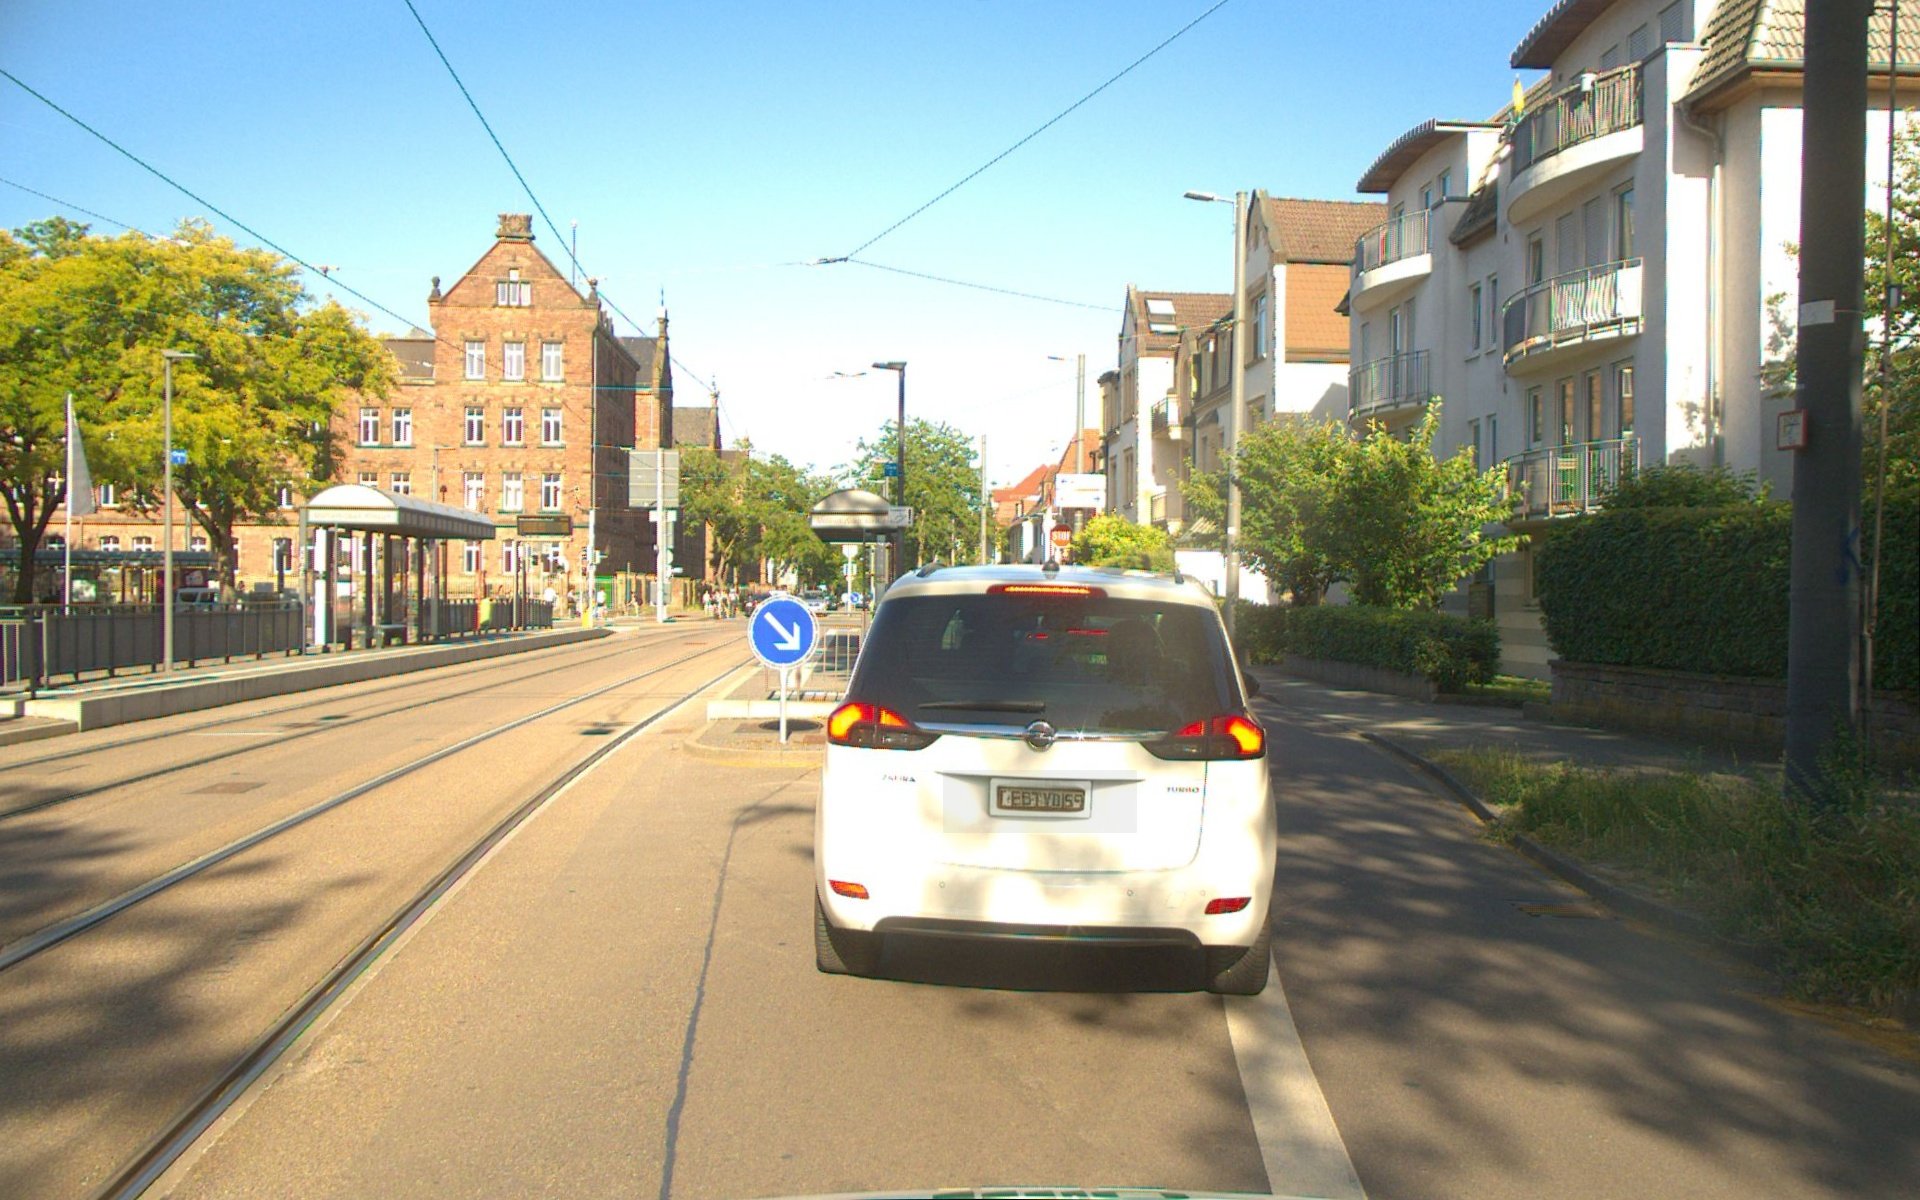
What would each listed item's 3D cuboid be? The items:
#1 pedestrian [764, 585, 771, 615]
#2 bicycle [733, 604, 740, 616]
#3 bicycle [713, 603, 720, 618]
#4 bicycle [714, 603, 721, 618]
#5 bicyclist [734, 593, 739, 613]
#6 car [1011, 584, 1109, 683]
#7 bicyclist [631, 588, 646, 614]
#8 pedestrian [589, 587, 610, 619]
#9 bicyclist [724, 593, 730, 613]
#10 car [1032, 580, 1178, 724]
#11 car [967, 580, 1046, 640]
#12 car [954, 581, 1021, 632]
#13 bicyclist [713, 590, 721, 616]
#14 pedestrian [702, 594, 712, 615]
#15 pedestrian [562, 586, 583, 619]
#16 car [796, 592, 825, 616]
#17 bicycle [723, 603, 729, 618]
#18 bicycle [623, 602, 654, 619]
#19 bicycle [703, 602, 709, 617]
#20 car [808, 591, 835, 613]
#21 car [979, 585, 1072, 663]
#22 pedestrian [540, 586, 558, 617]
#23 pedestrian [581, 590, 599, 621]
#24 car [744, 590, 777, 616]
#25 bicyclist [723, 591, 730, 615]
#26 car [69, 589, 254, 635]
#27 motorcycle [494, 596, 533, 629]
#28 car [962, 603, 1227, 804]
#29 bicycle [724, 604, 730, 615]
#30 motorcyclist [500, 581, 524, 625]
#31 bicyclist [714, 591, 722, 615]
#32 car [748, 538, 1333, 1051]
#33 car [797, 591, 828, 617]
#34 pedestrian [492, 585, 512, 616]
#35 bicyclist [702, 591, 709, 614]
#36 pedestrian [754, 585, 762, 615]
[{"bbox_3d":[-13.041,0.017,112.047,0.435,2.049,0.495,0,0,-4],"label":"pedestrian"},{"bbox_3d":[-15.060,0.672,111.419,0.337,0.737,0.996,1,0,-4],"label":"bicycle"},{"bbox_3d":[-15.161,0.651,102.833,0.337,0.966,1.159,1,0,-4],"label":"bicycle"},{"bbox_3d":[-15.609,0.658,106.359,0.337,0.966,0.996,1,0,-4],"label":"bicycle"},{"bbox_3d":[-15.057,0.199,111.416,0.352,1.326,0.397,0,0,-4],"label":"bicyclist"},{"bbox_3d":[1.711,0.552,29.264,1.603,1.629,3.855,0,0,1],"label":"car"},{"bbox_3d":[-18.175,0.082,93.603,0.743,1.455,0.515,1,-1,-3],"label":"bicyclist"},{"bbox_3d":[-19.310,0.153,88.657,0.877,1.713,1.029,1,0,-1],"label":"pedestrian"},{"bbox_3d":[-15.690,0.200,111.332,0.337,1.343,0.404,1,-1,-4],"label":"bicyclist"},{"bbox_3d":[1.738,0.587,20.836,1.603,1.629,3.855,0,0,1],"label":"car"},{"bbox_3d":[1.199,0.259,44.305,1.953,1.529,3.999,0,0,-1],"label":"car"},{"bbox_3d":[0.828,0.192,51.760,1.953,1.529,3.999,0,0,-1],"label":"car"},{"bbox_3d":[-15.152,0.176,103.041,0.435,1.580,0.742,0,0,-4],"label":"bicyclist"},{"bbox_3d":[-21.241,0.359,138.793,0.720,1.744,0.753,1,-1,-6],"label":"pedestrian"},{"bbox_3d":[-20.674,0.135,88.223,0.825,1.721,1.029,1,0,-1],"label":"pedestrian"},{"bbox_3d":[-10.349,0.260,114.246,1.955,1.657,3.996,0,0,-5],"label":"car"},{"bbox_3d":[-15.391,0.672,108.911,0.337,0.966,0.996,1,0,-4],"label":"bicycle"},{"bbox_3d":[-18.175,0.597,93.599,1.637,0.969,0.529,0,0,-3],"label":"bicycle"},{"bbox_3d":[-17.653,0.658,114.852,0.337,0.966,0.996,1,0,-4],"label":"bicycle"},{"bbox_3d":[-10.938,0.140,130.476,1.953,1.657,3.998,0,0,-3],"label":"car"},{"bbox_3d":[1.377,0.494,36.183,1.793,1.607,4.009,0,0,-1],"label":"car"},{"bbox_3d":[-22.032,0.084,88.668,0.786,1.616,0.934,1,0,-3],"label":"pedestrian"},{"bbox_3d":[-21.271,0.317,95.023,0.719,1.744,0.706,1,-1,22],"label":"pedestrian"},{"bbox_3d":[-12.855,0.195,106.880,1.955,1.657,3.996,0,0,-5],"label":"car"},{"bbox_3d":[-15.381,0.198,108.904,0.435,1.580,0.495,0,0,-4],"label":"bicyclist"},{"bbox_3d":[-35.725,0.528,74.185,6.810,1.954,2.991,0,0,-2],"label":"car"},{"bbox_3d":[-16.922,0.469,62.718,0.598,1.219,2.077,0,0,9],"label":"motorcycle"},{"bbox_3d":[1.028,0.750,13.977,1.912,1.422,4.001,0,0,1],"label":"car"},{"bbox_3d":[-15.694,0.661,111.314,0.337,0.737,0.996,1,0,-4],"label":"bicycle"},{"bbox_3d":[-16.943,0.127,62.563,0.600,1.650,0.845,0,0,9],"label":"motorcyclist"},{"bbox_3d":[-15.572,0.183,106.317,0.435,1.580,0.495,0,0,-4],"label":"bicyclist"},{"bbox_3d":[0.453,0.650,7.589,1.951,1.673,3.996,1,0,6],"label":"car"},{"bbox_3d":[-9.544,0.244,107.153,1.955,1.657,3.996,0,0,-5],"label":"car"},{"bbox_3d":[-24.384,0.041,88.048,0.918,1.616,0.799,1,-1,-21],"label":"pedestrian"},{"bbox_3d":[-17.646,0.182,114.816,0.435,1.580,0.495,0,0,-4],"label":"bicyclist"},{"bbox_3d":[-13.644,0.005,111.714,0.435,2.049,0.495,0,0,-4],"label":"pedestrian"}]
